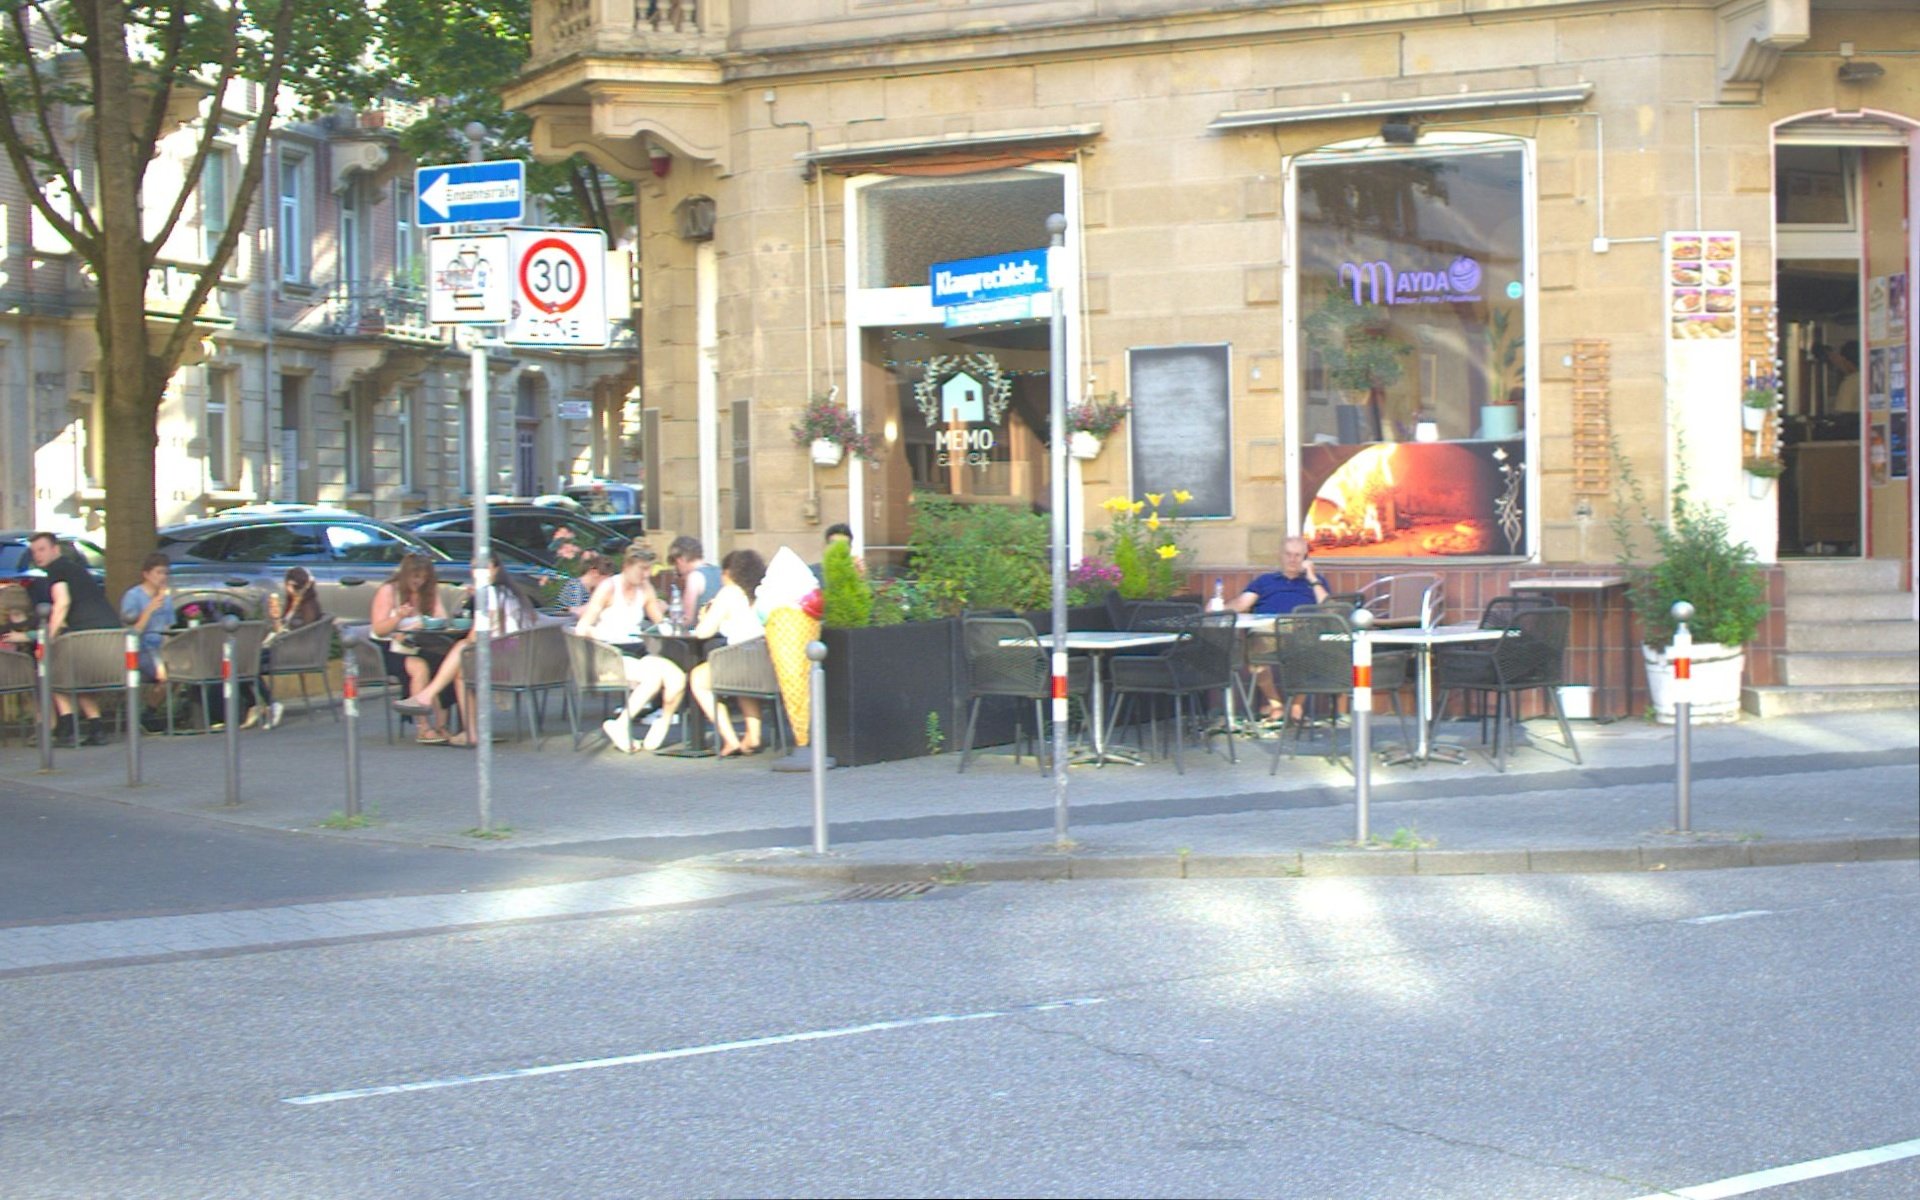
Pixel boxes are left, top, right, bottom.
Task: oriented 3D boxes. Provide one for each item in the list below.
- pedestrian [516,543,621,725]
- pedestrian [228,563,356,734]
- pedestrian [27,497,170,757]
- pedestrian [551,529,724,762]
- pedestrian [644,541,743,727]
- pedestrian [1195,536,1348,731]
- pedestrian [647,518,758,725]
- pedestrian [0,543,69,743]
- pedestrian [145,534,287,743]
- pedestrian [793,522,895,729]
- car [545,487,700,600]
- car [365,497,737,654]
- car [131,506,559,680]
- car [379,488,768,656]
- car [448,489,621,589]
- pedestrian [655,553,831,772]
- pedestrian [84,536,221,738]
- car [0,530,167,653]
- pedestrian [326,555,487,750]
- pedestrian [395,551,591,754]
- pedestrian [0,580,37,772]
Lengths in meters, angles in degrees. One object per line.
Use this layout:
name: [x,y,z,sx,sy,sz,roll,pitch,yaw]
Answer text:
pedestrian: [-2.741,0.229,24.087,0.482,1.244,0.509,0,3,45]
pedestrian: [-4.903,0.351,25.226,0.675,1.211,0.668,-3,1,-32]
pedestrian: [-5.995,0.181,23.923,0.764,1.764,0.572,-3,1,-30]
pedestrian: [-2.004,0.271,21.373,0.756,1.406,0.726,0,2,35]
pedestrian: [-1.823,0.225,23.541,0.482,1.244,0.433,0,3,45]
pedestrian: [2.006,0.204,22.073,0.726,1.209,0.755,0,1,28]
pedestrian: [-1.812,0.148,24.228,0.569,1.426,0.481,0,2,36]
pedestrian: [-6.921,0.314,24.786,0.764,1.407,0.668,-2,1,-29]
pedestrian: [-5.288,0.266,24.430,0.764,1.437,0.668,-3,1,-30]
pedestrian: [-0.778,0.164,23.027,0.481,1.362,0.433,0,2,39]
car: [-6.395,-1.090,65.550,1.808,2.077,3.750,-1,1,13]
car: [-4.696,-0.306,39.237,3.986,1.678,2.001,-1,1,-13]
car: [-5.957,-0.094,33.202,3.822,1.556,1.804,-1,1,-18]
car: [-4.058,-0.320,36.597,3.986,1.678,2.000,-1,1,-4]
car: [-7.433,-1.081,60.362,1.808,1.678,3.750,-1,1,13]
pedestrian: [-1.317,0.365,20.871,0.745,1.285,0.741,0,2,37]
pedestrian: [-5.929,0.265,25.241,0.764,1.437,0.668,-3,1,-30]
car: [-11.285,-0.126,41.372,1.924,1.371,3.750,-1,1,13]
pedestrian: [-3.665,0.334,22.769,0.706,1.244,0.747,0,3,45]
pedestrian: [-3.011,0.322,22.136,1.024,1.244,0.747,0,3,44]
pedestrian: [-6.820,0.529,23.982,0.570,1.315,0.505,-3,2,-32]
